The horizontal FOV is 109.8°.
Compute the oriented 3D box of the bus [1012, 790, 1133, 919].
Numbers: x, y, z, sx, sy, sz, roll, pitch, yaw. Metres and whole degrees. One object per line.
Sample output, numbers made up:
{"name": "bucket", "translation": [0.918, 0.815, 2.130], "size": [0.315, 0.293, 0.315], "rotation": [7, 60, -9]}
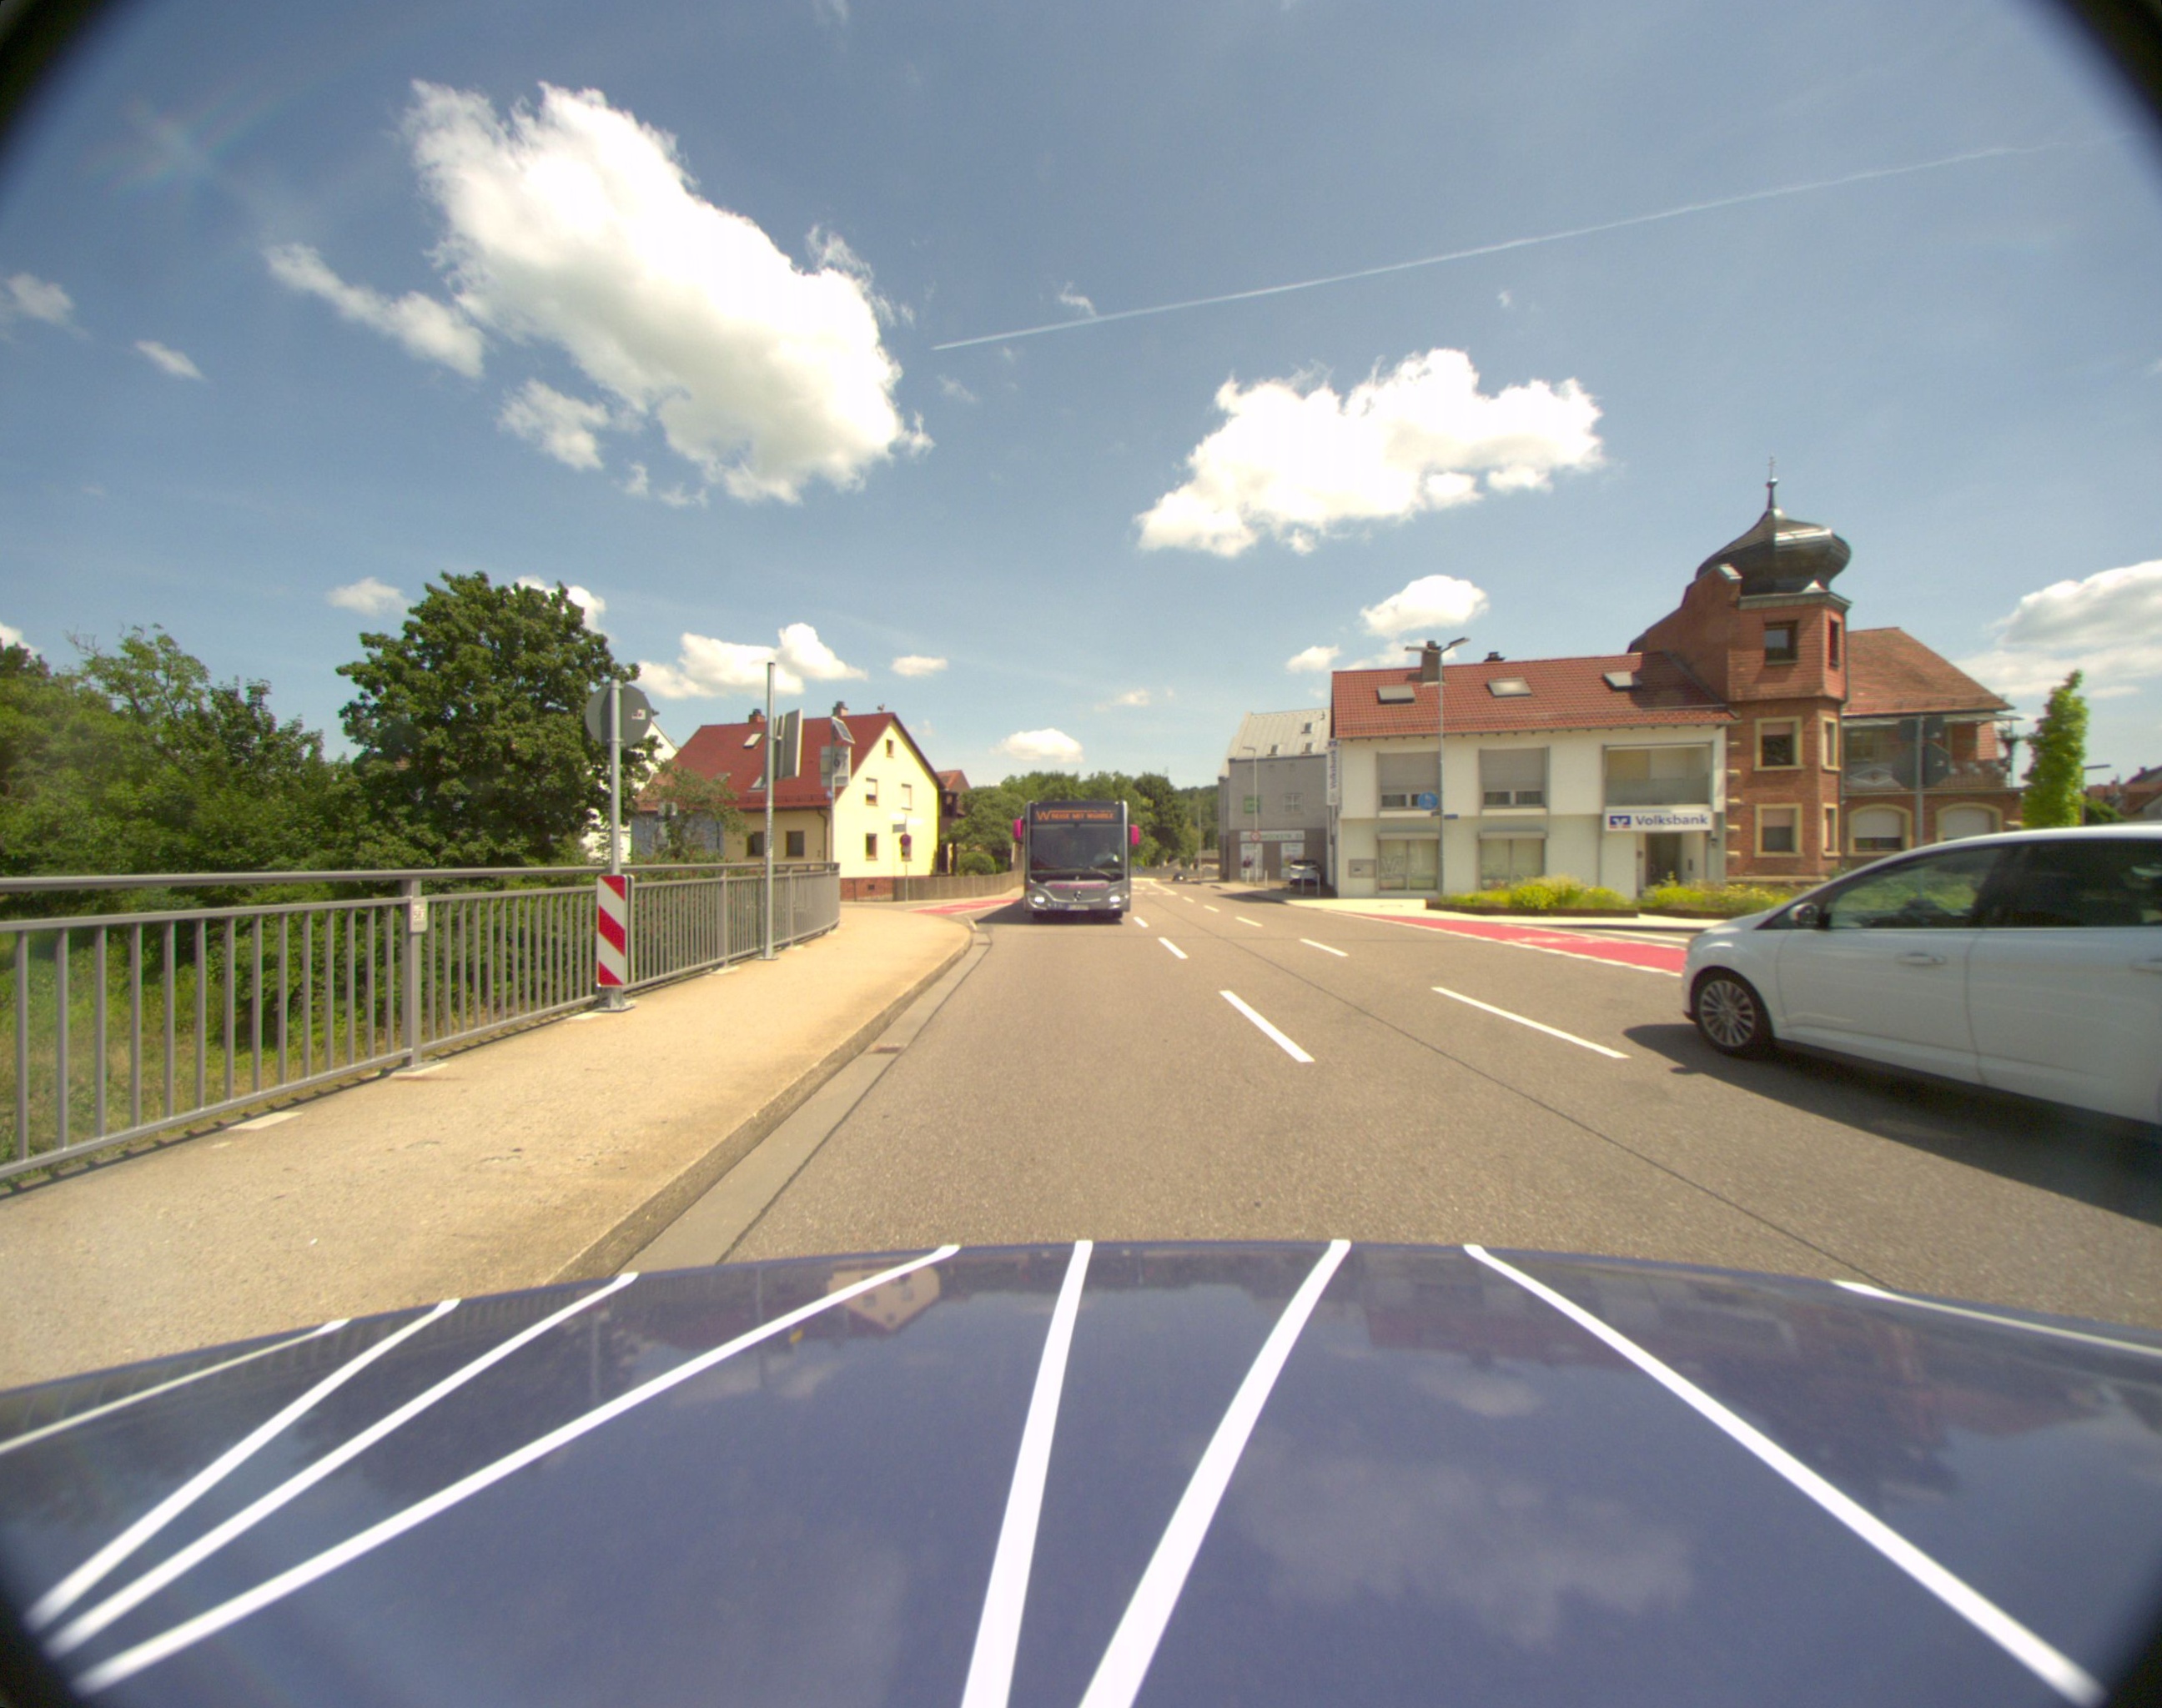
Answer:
{"name": "bus", "translation": [0.029, 0.157, 22.265], "size": [2.755, 2.949, 9.286], "rotation": [1, -2, 3]}

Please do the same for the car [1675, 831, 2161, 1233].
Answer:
{"name": "car", "translation": [5.396, 0.716, 3.837], "size": [1.819, 1.640, 4.001], "rotation": [-1, 0, 3]}

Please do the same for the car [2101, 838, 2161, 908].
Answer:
{"name": "car", "translation": [37.592, 0.635, 26.525], "size": [5.122, 2.332, 2.167], "rotation": [0, 1, -38]}

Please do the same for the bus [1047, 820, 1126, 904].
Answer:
{"name": "bus", "translation": [0.372, 0.431, 31.629], "size": [2.755, 2.949, 9.285], "rotation": [1, -2, 2]}

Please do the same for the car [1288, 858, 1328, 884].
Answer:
{"name": "car", "translation": [14.263, 1.048, 47.587], "size": [1.995, 1.565, 4.260], "rotation": [1, -1, 22]}
